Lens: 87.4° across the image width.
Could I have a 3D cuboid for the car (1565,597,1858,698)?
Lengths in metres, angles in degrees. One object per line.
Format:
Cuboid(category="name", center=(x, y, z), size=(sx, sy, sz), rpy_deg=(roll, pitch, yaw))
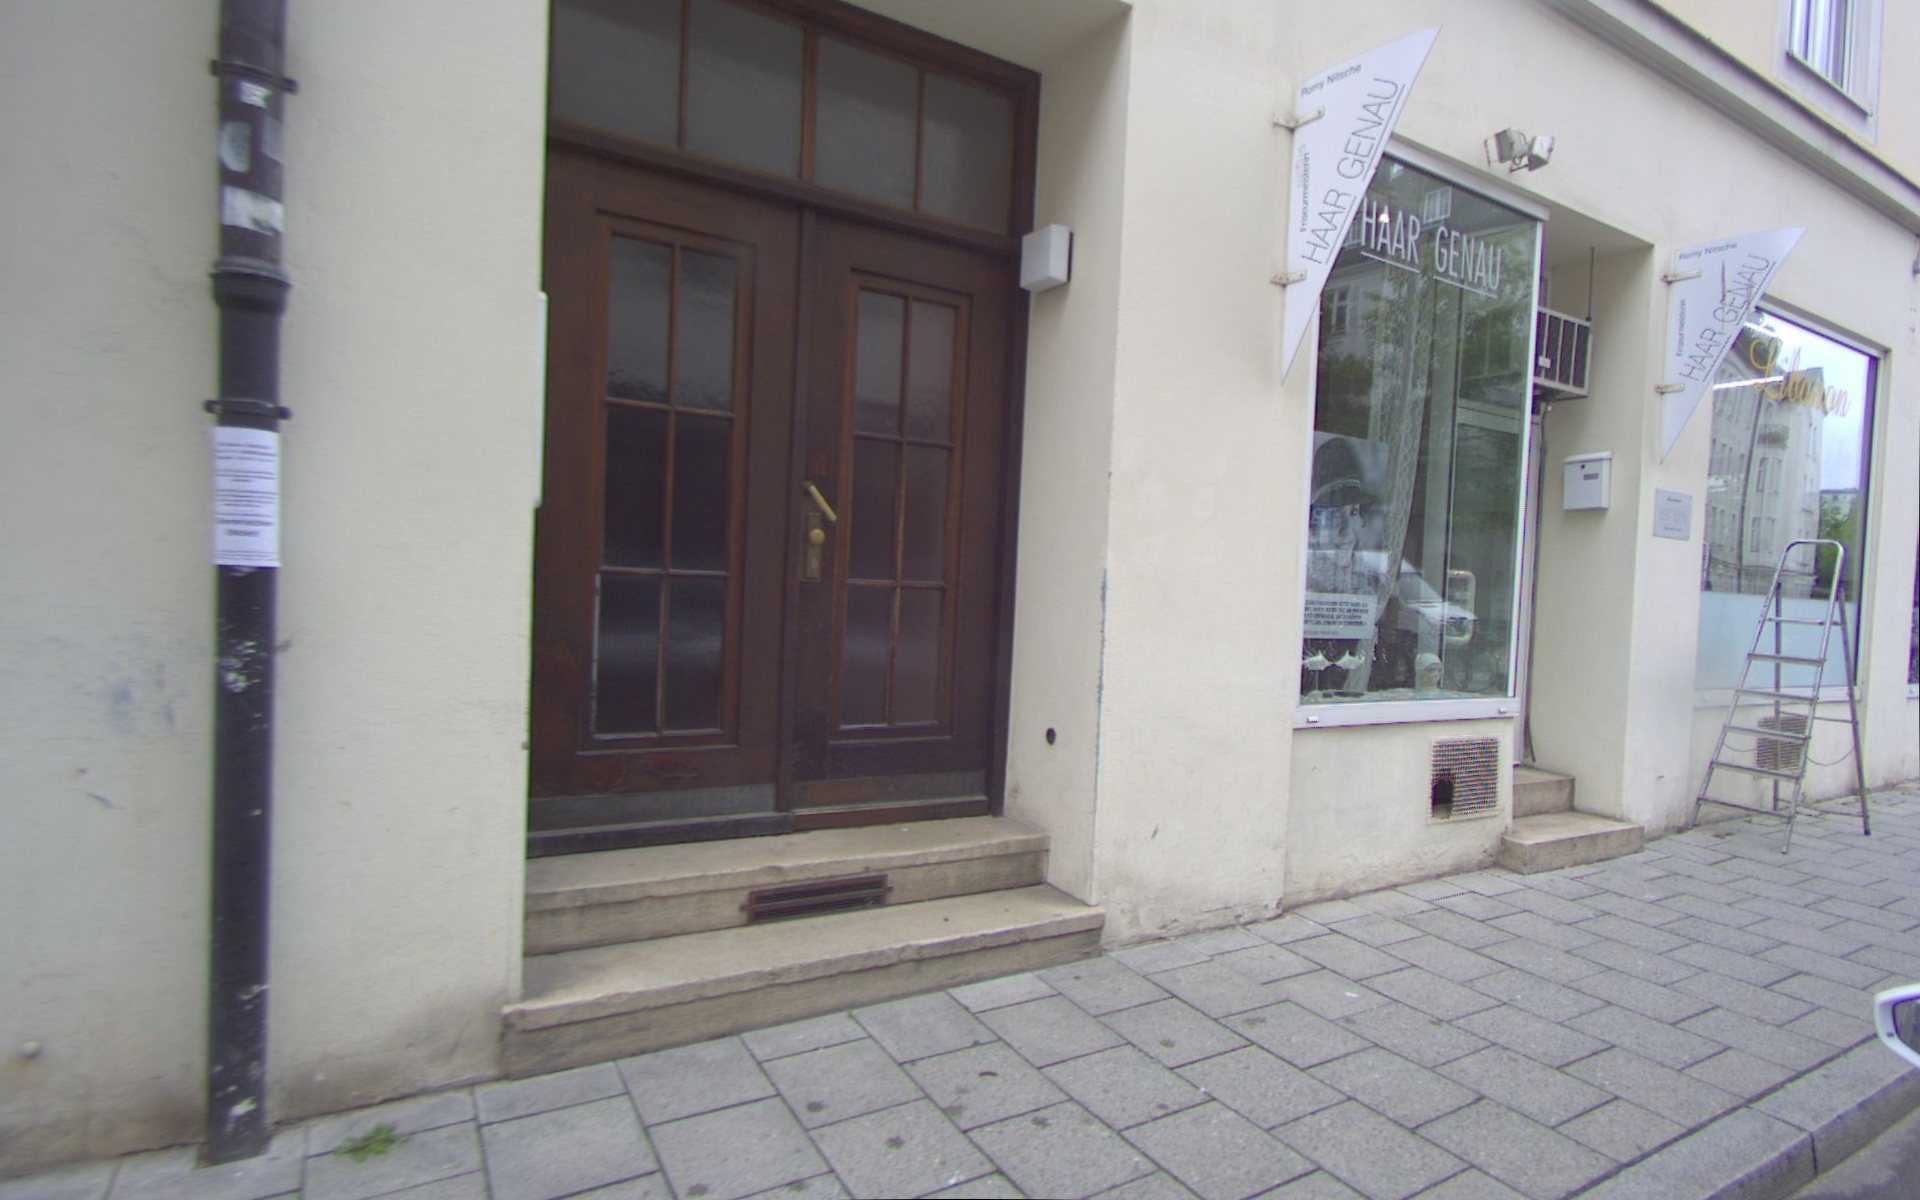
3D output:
Cuboid(category="car", center=(14.895, 0.838, 20.197), size=(1.879, 1.537, 4.315), rpy_deg=(-2, 4, -28))
